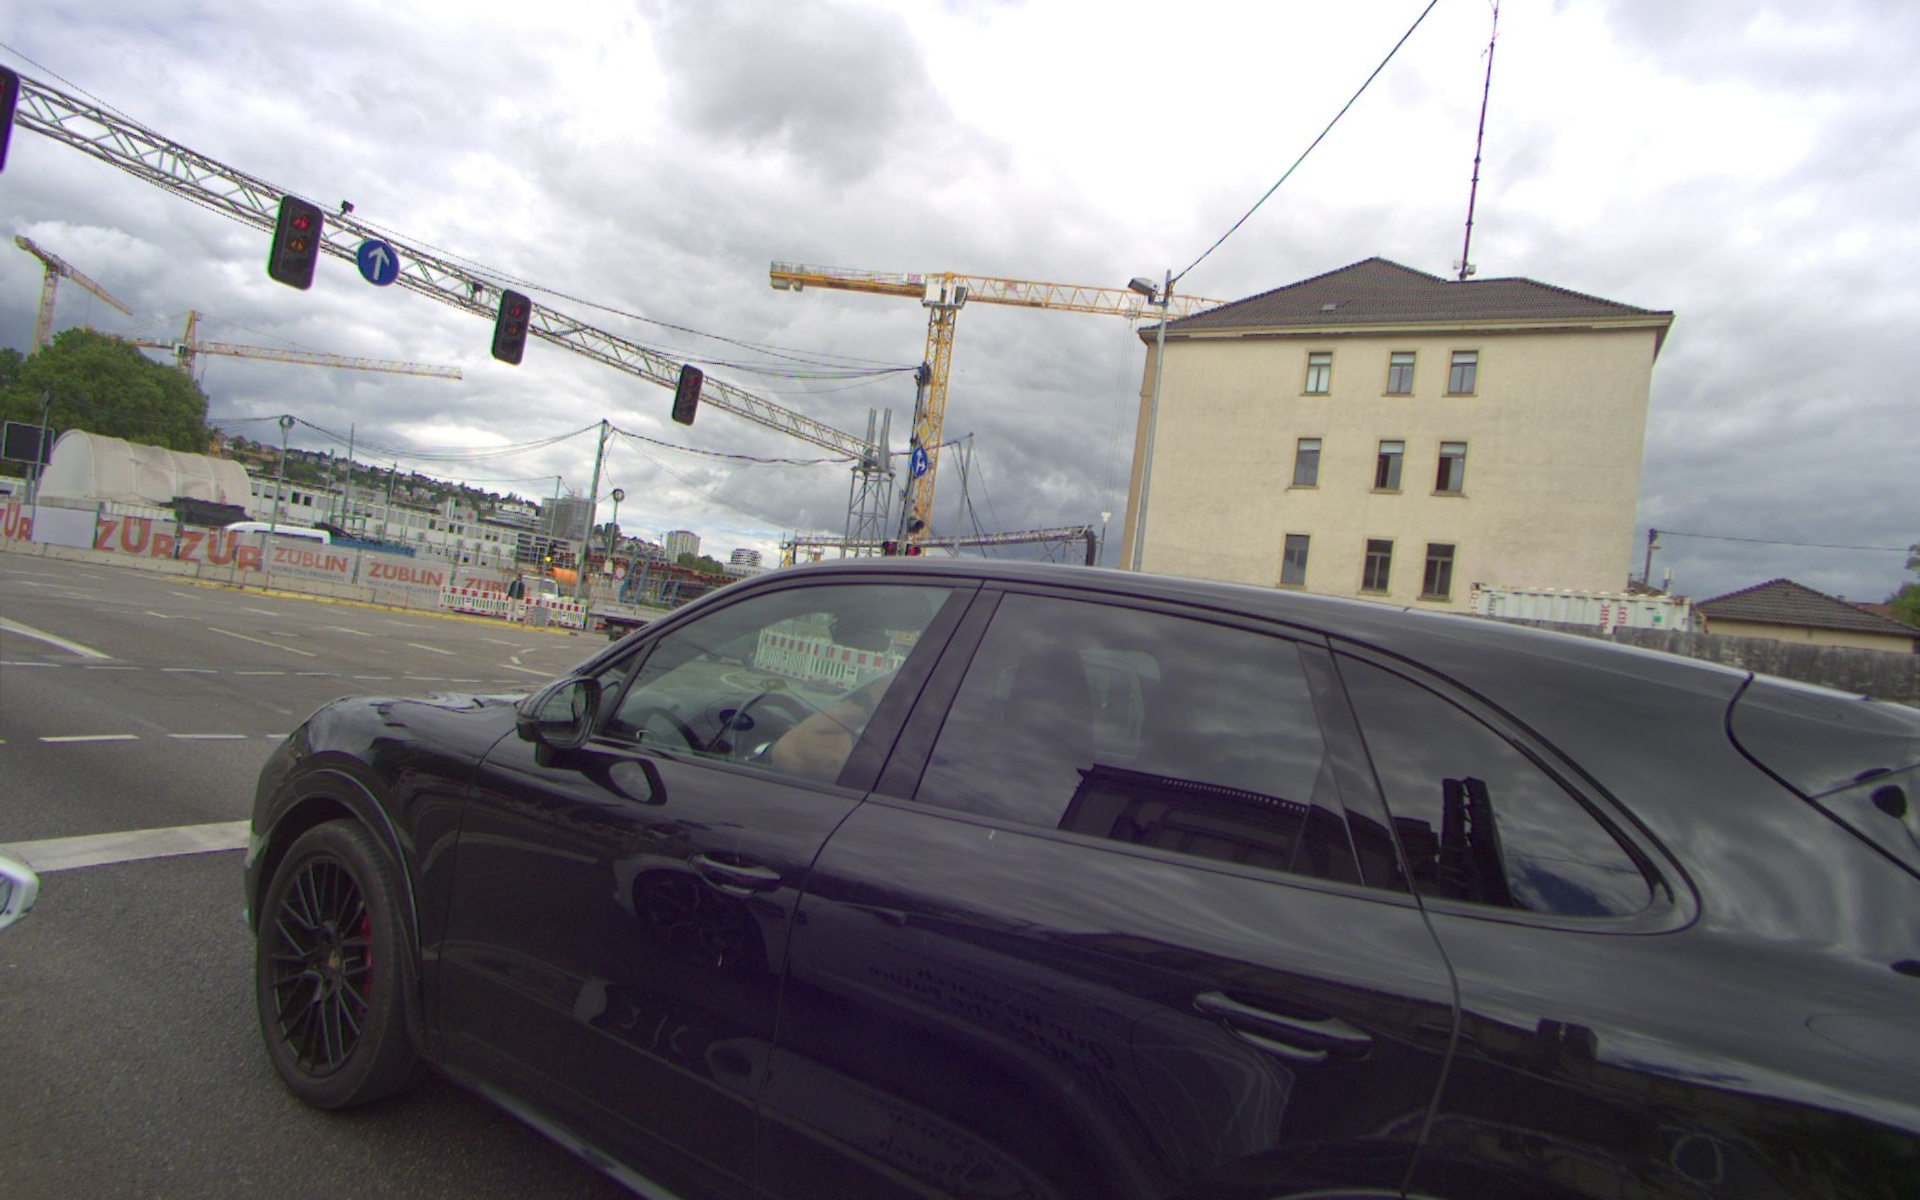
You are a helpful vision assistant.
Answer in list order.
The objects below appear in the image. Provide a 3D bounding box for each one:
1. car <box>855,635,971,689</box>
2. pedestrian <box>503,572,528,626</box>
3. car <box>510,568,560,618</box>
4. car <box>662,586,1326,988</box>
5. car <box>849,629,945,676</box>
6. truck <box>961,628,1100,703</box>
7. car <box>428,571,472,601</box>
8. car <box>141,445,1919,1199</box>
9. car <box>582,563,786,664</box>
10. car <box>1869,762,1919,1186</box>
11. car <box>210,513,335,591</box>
[{"bbox_3d":[-1.747,2.458,39.230,1.988,1.643,4.816,6,-2,33],"label":"car"},{"bbox_3d":[-17.234,-0.029,39.028,0.580,1.999,0.433,8,-1,-17],"label":"pedestrian"},{"bbox_3d":[-19.157,-0.320,45.293,1.757,1.976,3.108,8,-2,-25],"label":"car"},{"bbox_3d":[0.125,0.979,6.661,3.934,1.644,1.679,6,-2,32],"label":"car"},{"bbox_3d":[-2.714,2.372,44.729,1.654,1.643,4.719,6,-2,32],"label":"car"},{"bbox_3d":[3.606,3.267,48.510,2.583,2.835,9.001,7,-2,31],"label":"truck"},{"bbox_3d":[-32.249,-0.901,63.566,1.668,1.545,3.960,8,-2,-37],"label":"car"},{"bbox_3d":[-0.038,0.682,2.664,4.410,1.735,1.828,6,-2,32],"label":"car"},{"bbox_3d":[-8.190,0.505,30.548,2.266,2.331,5.769,6,-2,33],"label":"car"},{"bbox_3d":[5.777,1.679,2.568,4.729,1.644,1.828,6,-2,32],"label":"car"},{"bbox_3d":[-29.568,-2.036,43.364,1.660,2.692,3.979,6,-2,45],"label":"car"}]
